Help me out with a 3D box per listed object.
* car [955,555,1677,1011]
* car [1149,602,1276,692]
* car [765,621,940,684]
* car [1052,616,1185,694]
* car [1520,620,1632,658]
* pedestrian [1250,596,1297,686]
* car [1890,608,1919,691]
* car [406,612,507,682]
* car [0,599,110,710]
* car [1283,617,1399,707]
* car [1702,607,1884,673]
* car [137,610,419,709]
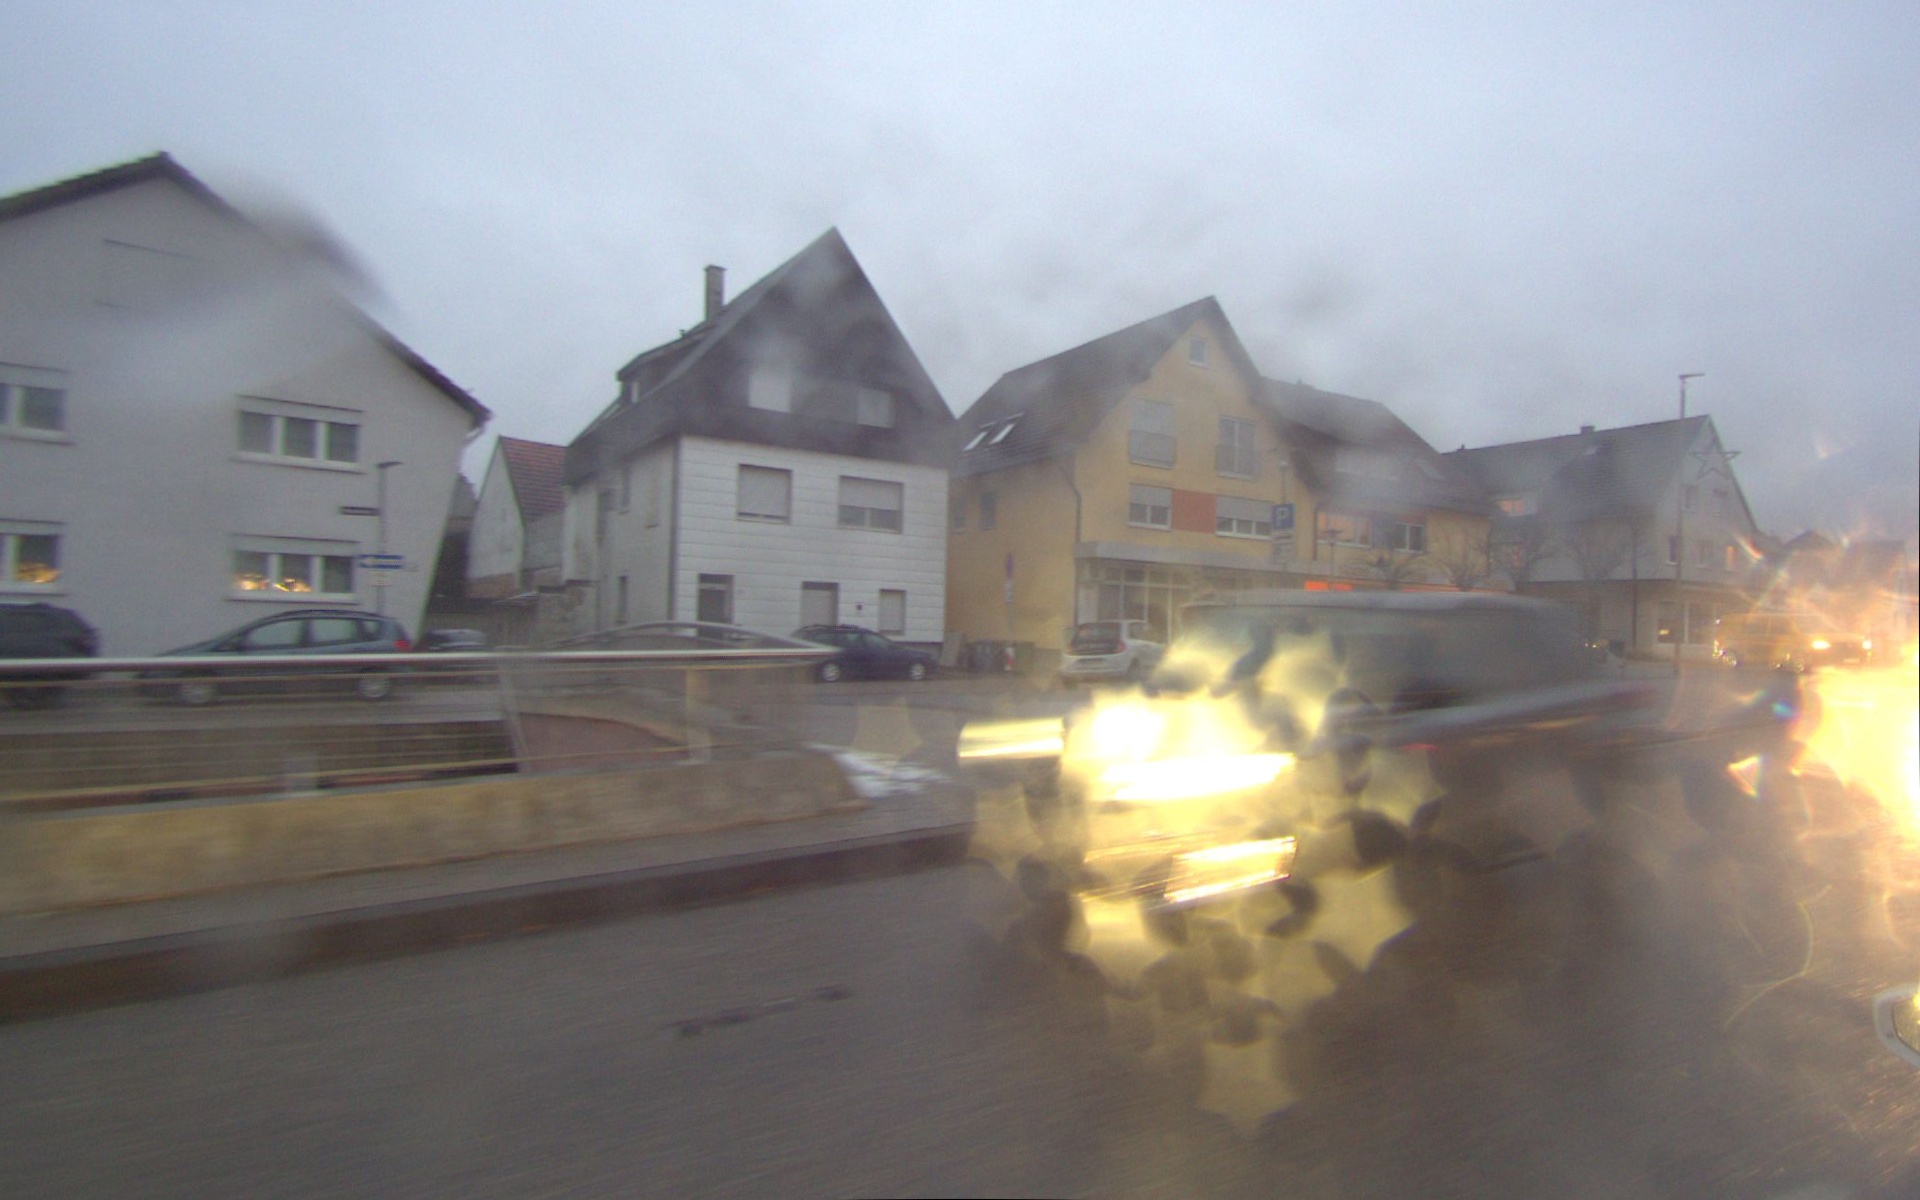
[{"bbox_3d":[2.083,0.683,5.480,3.917,1.643,1.767,1,0,-35],"label":"car"},{"bbox_3d":[5.380,0.960,21.052,1.806,1.692,3.893,-2,-2,26],"label":"car"},{"bbox_3d":[-2.916,1.379,27.519,4.375,1.520,1.900,1,2,-33],"label":"car"},{"bbox_3d":[3.759,1.239,23.303,1.734,1.652,3.993,-2,-2,30],"label":"car"},{"bbox_3d":[26.587,1.658,43.487,1.693,1.440,3.815,4,-2,-26],"label":"car"},{"bbox_3d":[6.201,0.809,19.873,0.825,1.734,0.724,-1,-2,20],"label":"pedestrian"},{"bbox_3d":[22.288,1.117,22.247,1.695,1.837,4.126,1,-1,32],"label":"car"},{"bbox_3d":[-13.442,1.289,26.707,1.702,1.704,3.959,4,-5,-36],"label":"car"},{"bbox_3d":[-15.848,0.816,15.621,3.926,1.682,1.685,2,-1,-39],"label":"car"},{"bbox_3d":[7.434,1.151,19.560,1.877,1.551,4.180,-1,-2,22],"label":"car"},{"bbox_3d":[28.161,1.287,34.221,1.961,2.040,4.898,2,-1,-2],"label":"car"},{"bbox_3d":[-12.271,1.033,18.293,4.055,1.590,1.762,2,-1,-36],"label":"car"}]
